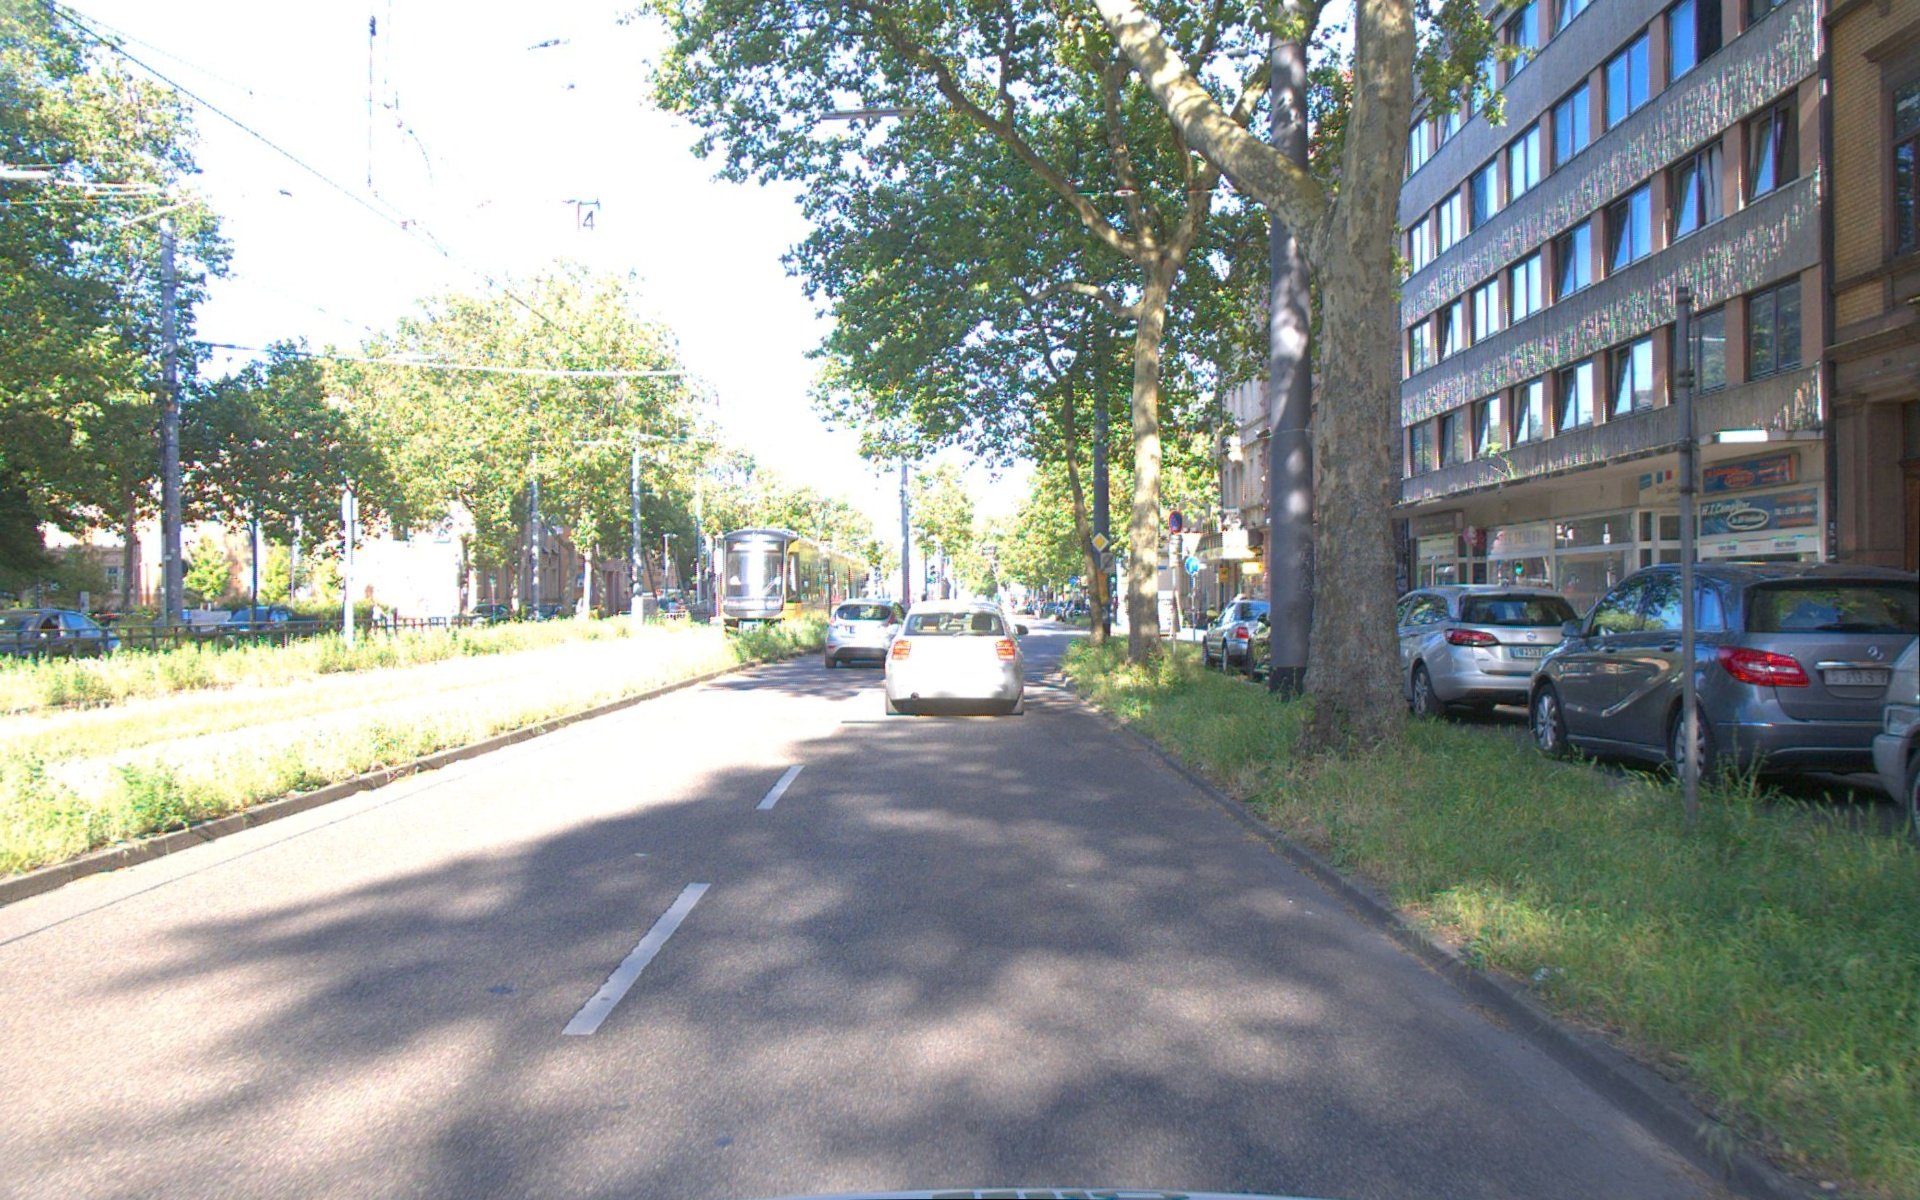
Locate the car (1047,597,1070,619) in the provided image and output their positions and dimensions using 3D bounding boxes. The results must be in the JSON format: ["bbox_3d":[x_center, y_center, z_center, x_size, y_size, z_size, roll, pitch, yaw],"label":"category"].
[{"bbox_3d":[8.073,0.651,135.489,1.657,1.687,4.040,0,1,0],"label":"car"}]

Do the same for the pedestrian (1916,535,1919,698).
[{"bbox_3d":[11.532,0.188,18.747,0.979,1.872,0.715,0,0,2],"label":"pedestrian"}]

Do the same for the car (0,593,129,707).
[{"bbox_3d":[-14.893,0.725,25.787,1.757,1.579,4.048,1,1,1],"label":"car"}]

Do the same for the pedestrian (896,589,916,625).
[{"bbox_3d":[-2.985,0.376,91.230,1.050,1.949,1.126,0,0,-1],"label":"pedestrian"}]

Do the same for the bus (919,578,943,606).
[{"bbox_3d":[-3.898,-1.180,224.218,2.693,3.689,18.850,0,1,1],"label":"bus"}]

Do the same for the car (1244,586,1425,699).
[{"bbox_3d":[5.598,0.571,25.320,1.768,1.516,4.920,1,0,2],"label":"car"}]

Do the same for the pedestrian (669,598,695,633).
[{"bbox_3d":[-13.430,0.726,79.961,1.154,1.672,0.891,0,0,-7],"label":"pedestrian"}]

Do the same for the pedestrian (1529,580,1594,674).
[{"bbox_3d":[11.728,0.518,32.258,0.979,1.791,0.715,1,1,1],"label":"pedestrian"}]

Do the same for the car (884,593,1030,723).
[{"bbox_3d":[-0.041,0.689,21.843,1.726,1.457,4.000,1,1,0],"label":"car"}]

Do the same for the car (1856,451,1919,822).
[{"bbox_3d":[5.656,0.230,6.410,1.826,1.847,4.801,1,1,1],"label":"car"}]

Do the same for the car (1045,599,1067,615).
[{"bbox_3d":[9.350,0.669,161.757,1.952,1.535,4.598,1,0,1],"label":"car"}]

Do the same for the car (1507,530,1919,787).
[{"bbox_3d":[5.569,0.336,12.162,1.669,1.528,4.358,1,1,1],"label":"car"}]

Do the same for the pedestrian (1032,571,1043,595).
[{"bbox_3d":[6.483,-1.419,138.853,0.820,2.049,0.649,1,1,7],"label":"pedestrian"}]

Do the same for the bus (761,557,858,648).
[{"bbox_3d":[-6.190,0.089,70.102,2.810,3.504,12.215,0,0,1],"label":"bus"}]

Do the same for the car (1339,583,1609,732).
[{"bbox_3d":[5.815,0.581,19.326,1.643,1.492,4.669,1,0,-1],"label":"car"}]

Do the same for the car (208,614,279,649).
[{"bbox_3d":[-25.862,1.123,59.801,1.372,1.221,2.844,0,0,-1],"label":"car"}]

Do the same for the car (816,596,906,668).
[{"bbox_3d":[-2.087,0.653,35.715,1.613,1.386,3.760,1,1,1],"label":"car"}]

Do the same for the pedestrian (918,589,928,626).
[{"bbox_3d":[-1.962,0.384,87.297,0.442,1.936,0.584,0,0,-7],"label":"pedestrian"}]

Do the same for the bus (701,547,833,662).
[{"bbox_3d":[-6.436,0.125,57.369,2.810,3.504,13.217,0,0,1],"label":"bus"}]

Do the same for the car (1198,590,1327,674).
[{"bbox_3d":[5.858,0.564,32.527,1.666,1.449,4.517,1,1,0],"label":"car"}]

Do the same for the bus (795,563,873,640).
[{"bbox_3d":[-6.123,0.066,82.079,2.810,3.504,11.611,0,0,1],"label":"bus"}]

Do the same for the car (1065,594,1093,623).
[{"bbox_3d":[8.586,0.615,120.052,1.718,1.999,4.738,0,1,0],"label":"car"}]

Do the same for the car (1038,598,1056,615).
[{"bbox_3d":[8.735,0.645,166.952,1.635,1.578,4.001,1,1,1],"label":"car"}]

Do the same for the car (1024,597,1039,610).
[{"bbox_3d":[9.024,0.453,208.942,1.665,1.561,3.717,1,1,1],"label":"car"}]

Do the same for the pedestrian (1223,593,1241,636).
[{"bbox_3d":[11.848,0.629,72.089,0.459,1.842,0.772,2,1,32],"label":"pedestrian"}]
